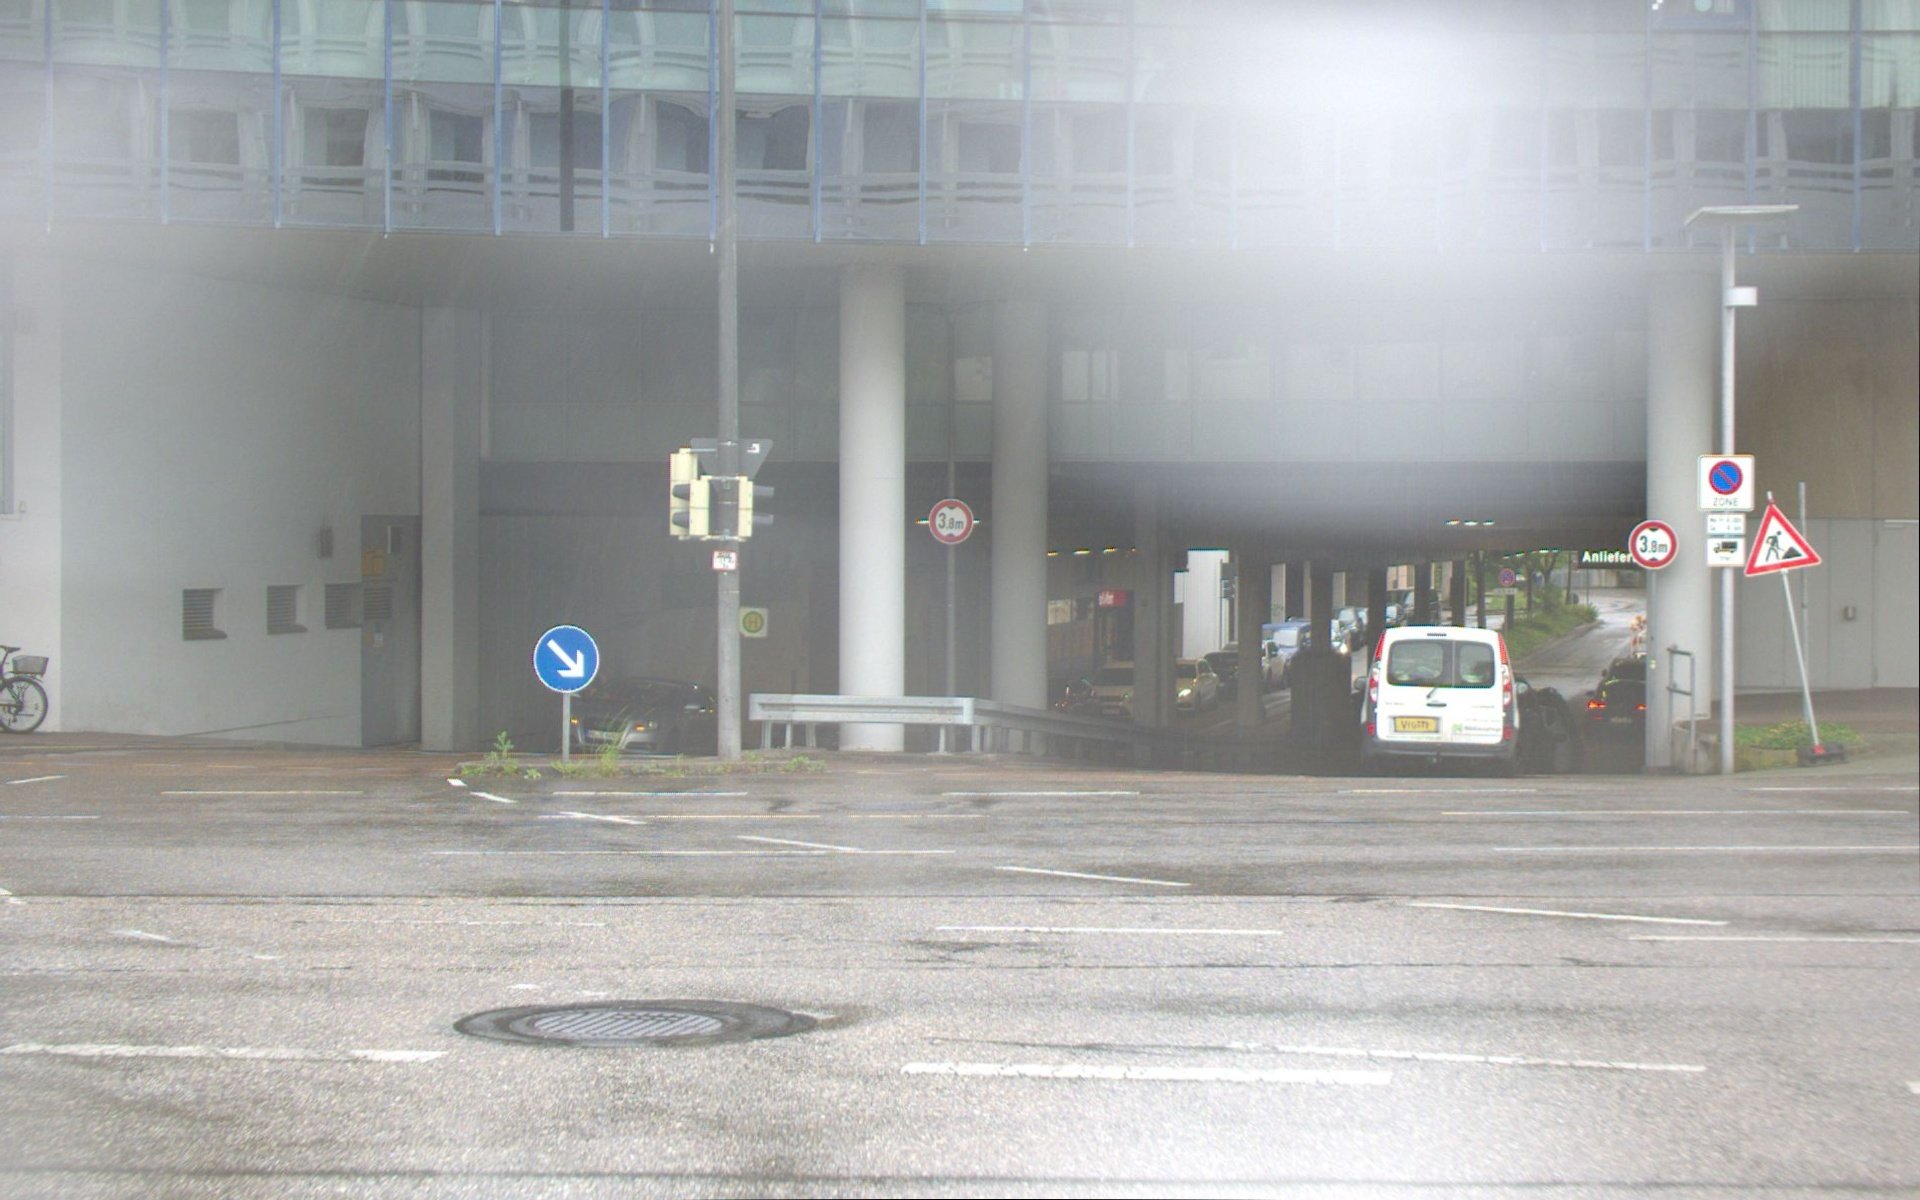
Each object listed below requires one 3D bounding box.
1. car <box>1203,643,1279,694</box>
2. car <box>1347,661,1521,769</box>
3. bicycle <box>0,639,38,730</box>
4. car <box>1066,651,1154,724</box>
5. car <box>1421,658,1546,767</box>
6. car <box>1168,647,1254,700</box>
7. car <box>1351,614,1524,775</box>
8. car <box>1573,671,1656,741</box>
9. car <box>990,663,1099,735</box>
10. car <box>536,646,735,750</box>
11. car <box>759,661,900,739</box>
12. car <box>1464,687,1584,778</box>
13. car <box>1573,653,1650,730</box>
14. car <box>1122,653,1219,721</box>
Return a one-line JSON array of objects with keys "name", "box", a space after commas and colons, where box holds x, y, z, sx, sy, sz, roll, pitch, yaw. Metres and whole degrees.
[{"name": "car", "box": [8.747, 2.120, 106.952, 1.994, 1.459, 3.998, 0, 0, 10]}, {"name": "car", "box": [6.723, 1.637, 48.480, 1.759, 1.459, 3.939, 0, -2, 18]}, {"name": "bicycle", "box": [-11.579, 0.926, 39.824, 1.581, 1.014, 0.452, 7, -2, -33]}, {"name": "car", "box": [3.875, 2.218, 88.194, 1.837, 1.722, 3.999, 1, 1, 8]}, {"name": "car", "box": [8.125, 1.732, 53.110, 1.634, 1.606, 4.260, 0, -2, 13]}, {"name": "car", "box": [7.461, 2.152, 101.868, 1.994, 1.459, 3.998, 0, 0, 13]}, {"name": "car", "box": [5.646, 1.073, 40.732, 1.926, 1.791, 4.295, 0, -1, 8]}, {"name": "car", "box": [15.894, 2.559, 83.575, 1.889, 1.486, 3.839, 2, 1, 11]}, {"name": "car", "box": [2.063, 2.374, 83.296, 1.915, 1.582, 3.937, 0, 0, 13]}, {"name": "car", "box": [-5.063, 1.569, 54.132, 1.893, 1.465, 4.024, 1, -3, 13]}, {"name": "car", "box": [-2.476, 1.914, 66.188, 1.771, 1.459, 3.873, 0, -1, 13]}, {"name": "car", "box": [9.569, 2.216, 58.160, 1.780, 1.395, 3.998, 0, 0, 13]}, {"name": "car", "box": [16.696, 2.328, 88.208, 1.842, 1.771, 3.590, 2, 1, 10]}, {"name": "car", "box": [5.780, 2.355, 94.071, 1.995, 1.658, 3.998, 2, 1, 12]}]
